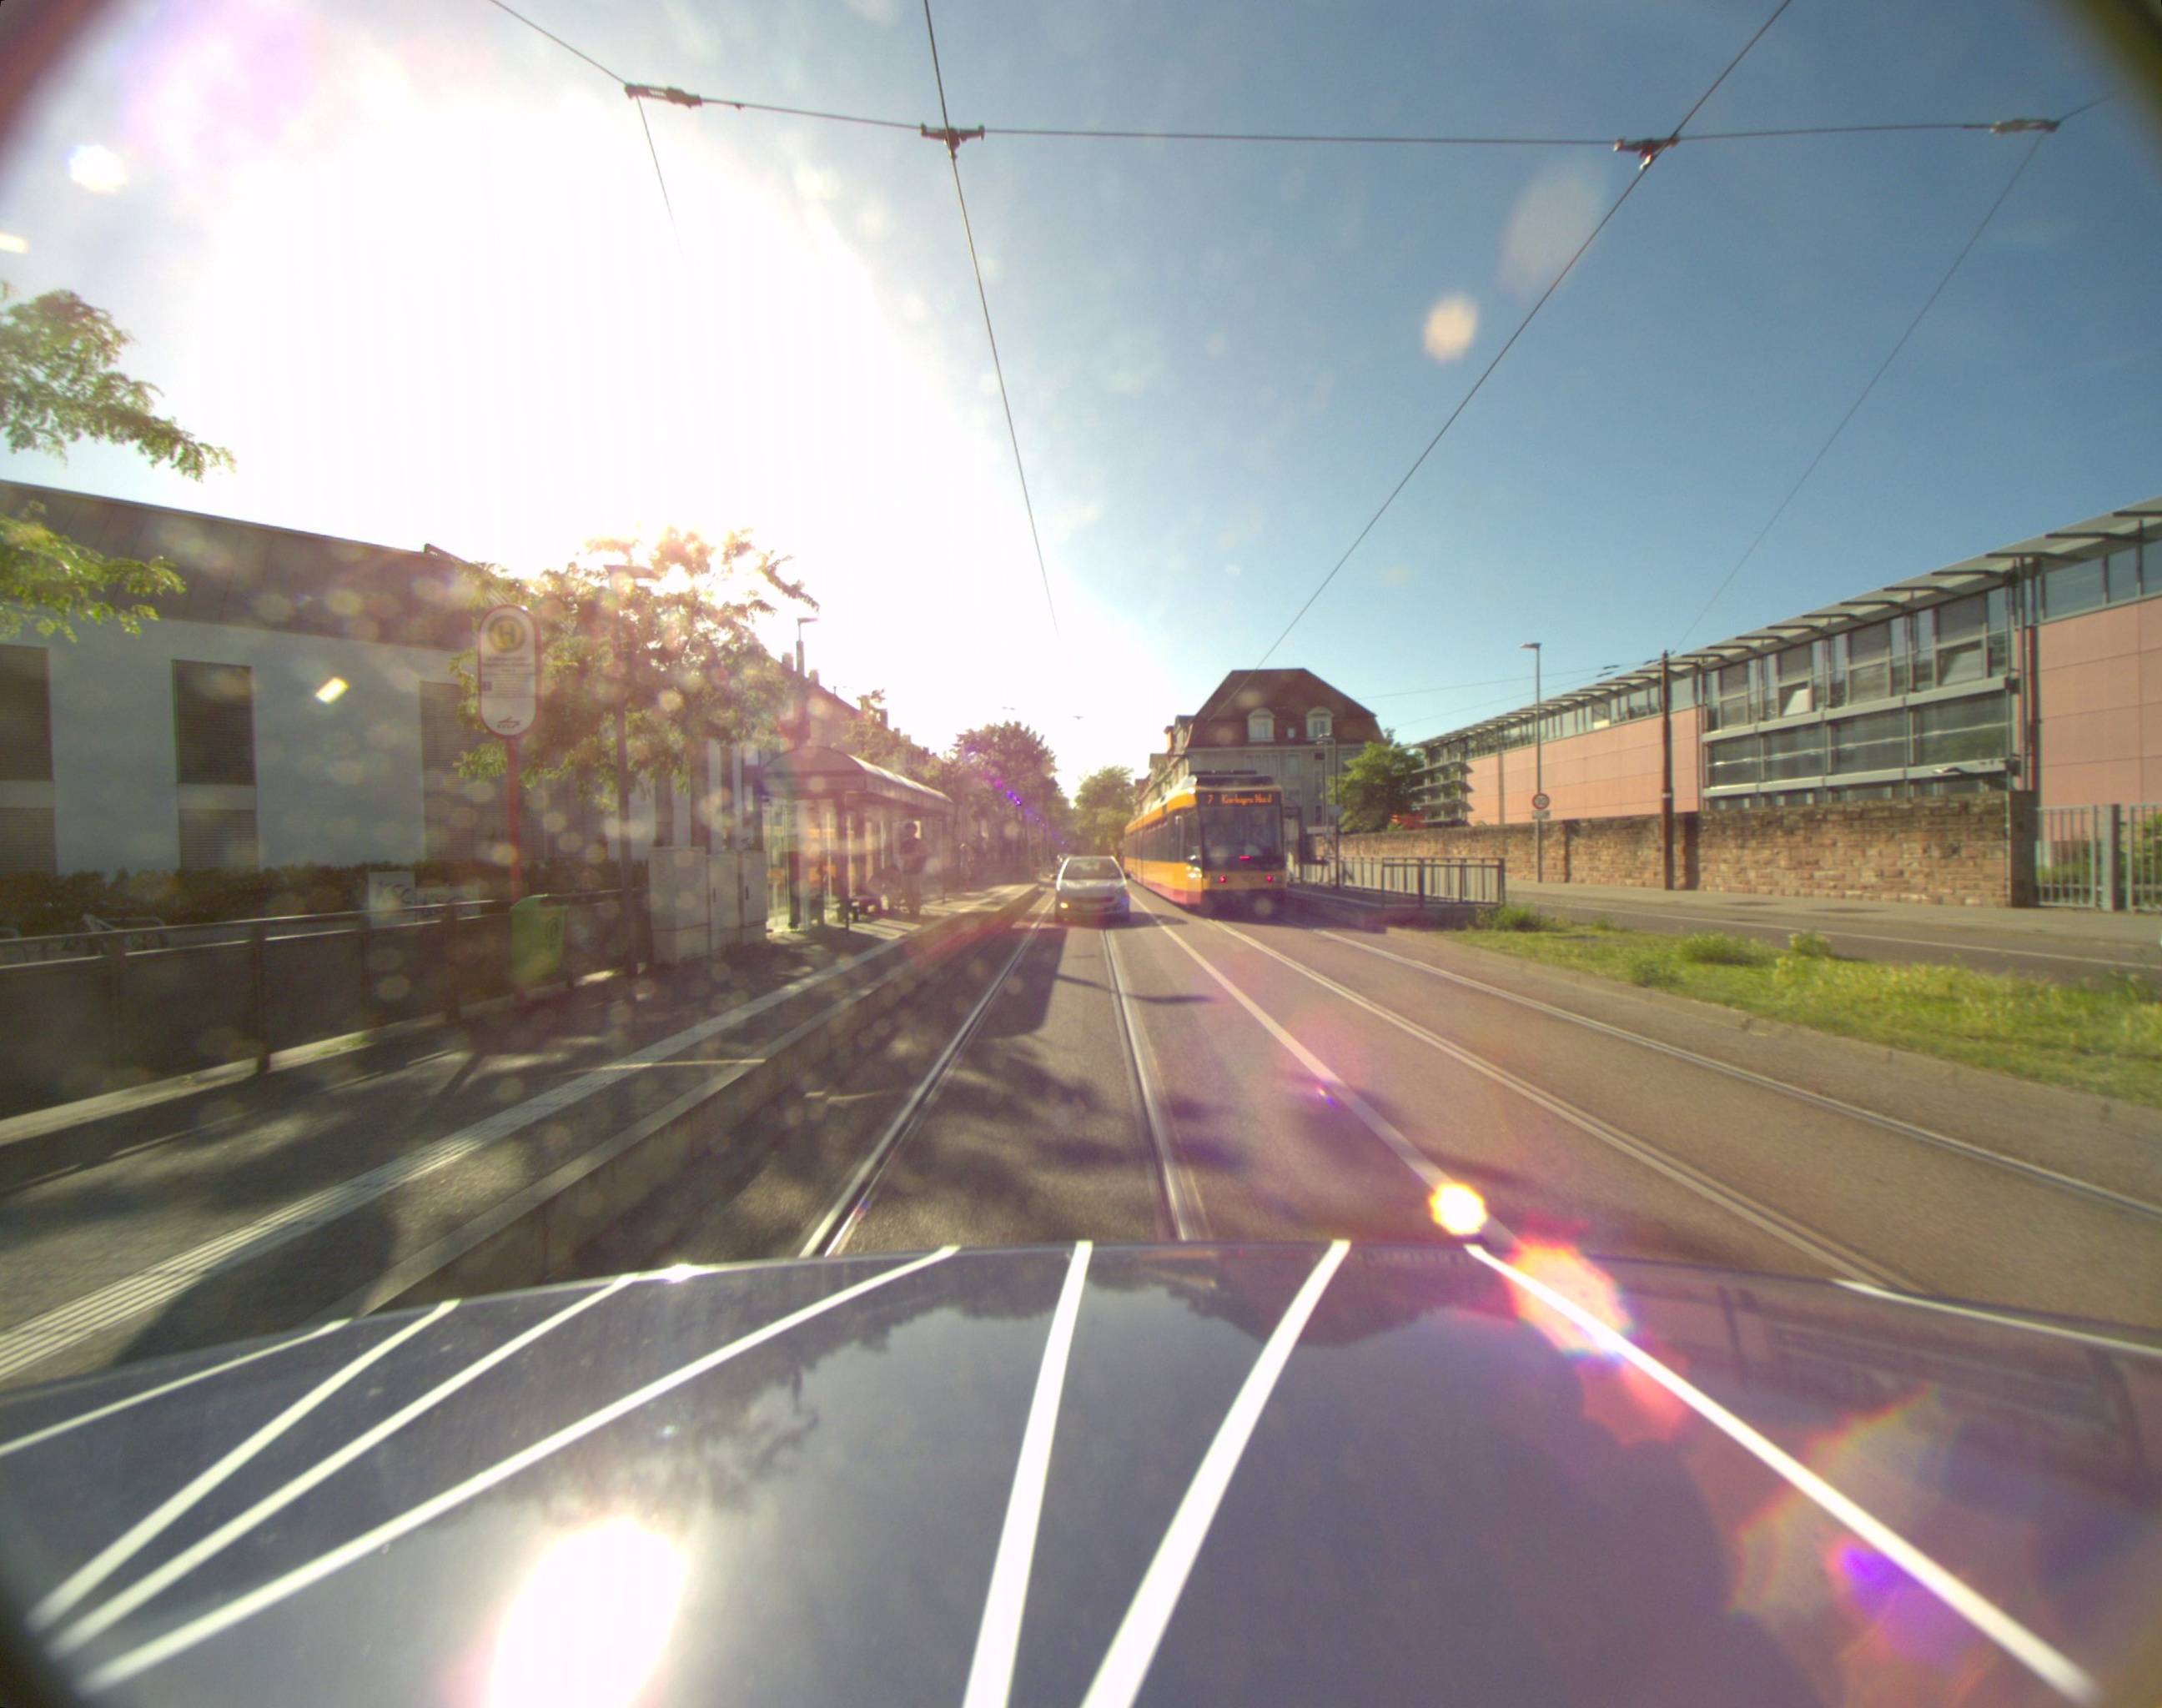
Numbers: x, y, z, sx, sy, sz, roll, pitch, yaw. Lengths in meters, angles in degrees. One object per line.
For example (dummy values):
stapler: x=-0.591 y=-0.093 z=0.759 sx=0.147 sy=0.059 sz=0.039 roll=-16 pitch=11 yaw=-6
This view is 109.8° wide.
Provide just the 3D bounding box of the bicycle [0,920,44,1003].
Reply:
bicycle: x=-13.877 y=1.335 z=9.345 sx=1.474 sy=0.973 sz=0.415 roll=-1 pitch=1 yaw=-6

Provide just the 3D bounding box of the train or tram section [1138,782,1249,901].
train or tram section: x=3.585 y=-0.377 z=25.862 sx=2.811 sy=3.439 sz=6.668 roll=-2 pitch=0 yaw=1

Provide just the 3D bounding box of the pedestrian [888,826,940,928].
pedestrian: x=-3.157 y=0.425 z=14.418 sx=0.712 sy=1.843 sz=0.729 roll=-3 pitch=1 yaw=2

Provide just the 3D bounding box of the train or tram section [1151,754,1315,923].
train or tram section: x=3.479 y=-0.343 z=19.221 sx=2.811 sy=3.439 sz=6.668 roll=-2 pitch=0 yaw=1

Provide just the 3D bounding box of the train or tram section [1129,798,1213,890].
train or tram section: x=3.680 y=-0.416 z=32.559 sx=2.811 sy=3.439 sz=6.668 roll=-2 pitch=0 yaw=1

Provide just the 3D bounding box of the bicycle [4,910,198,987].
bicycle: x=-13.934 y=1.325 z=10.833 sx=1.903 sy=0.973 sz=0.491 roll=-1 pitch=1 yaw=-6

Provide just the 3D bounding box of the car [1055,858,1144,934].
car: x=0.333 y=0.842 z=16.978 sx=1.742 sy=1.450 sz=3.693 roll=-1 pitch=0 yaw=-1

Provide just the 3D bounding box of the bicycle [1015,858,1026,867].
bicycle: x=-6.292 y=0.842 z=79.119 sx=0.826 sy=0.880 sz=2.199 roll=-1 pitch=0 yaw=4

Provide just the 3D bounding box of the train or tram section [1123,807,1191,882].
train or tram section: x=3.774 y=-0.454 z=39.211 sx=2.811 sy=3.439 sz=6.668 roll=-2 pitch=0 yaw=1

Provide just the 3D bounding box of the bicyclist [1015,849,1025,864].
bicyclist: x=-6.312 y=0.271 z=79.052 sx=0.818 sy=1.491 sz=1.258 roll=-1 pitch=0 yaw=4

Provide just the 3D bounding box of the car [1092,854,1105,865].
car: x=2.474 y=0.782 z=110.162 sx=1.742 sy=1.450 sz=4.405 roll=-1 pitch=0 yaw=0

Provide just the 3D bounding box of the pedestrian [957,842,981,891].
pedestrian: x=-3.960 y=0.446 z=26.967 sx=0.673 sy=1.694 sz=0.690 roll=-3 pitch=1 yaw=0

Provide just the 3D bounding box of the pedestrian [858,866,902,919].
pedestrian: x=-4.509 y=0.850 z=17.068 sx=0.740 sy=1.111 sz=0.658 roll=-3 pitch=1 yaw=0

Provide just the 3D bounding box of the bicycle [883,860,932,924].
bicycle: x=-3.609 y=0.756 z=15.961 sx=0.621 sy=1.222 sz=1.966 roll=-2 pitch=1 yaw=-3

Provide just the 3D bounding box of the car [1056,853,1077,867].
car: x=-1.589 y=0.684 z=82.574 sx=1.743 sy=1.450 sz=3.691 roll=-2 pitch=0 yaw=-8

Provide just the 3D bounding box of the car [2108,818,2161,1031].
car: x=9.076 y=0.549 z=4.046 sx=1.768 sy=1.654 sz=4.211 roll=-1 pitch=1 yaw=6
